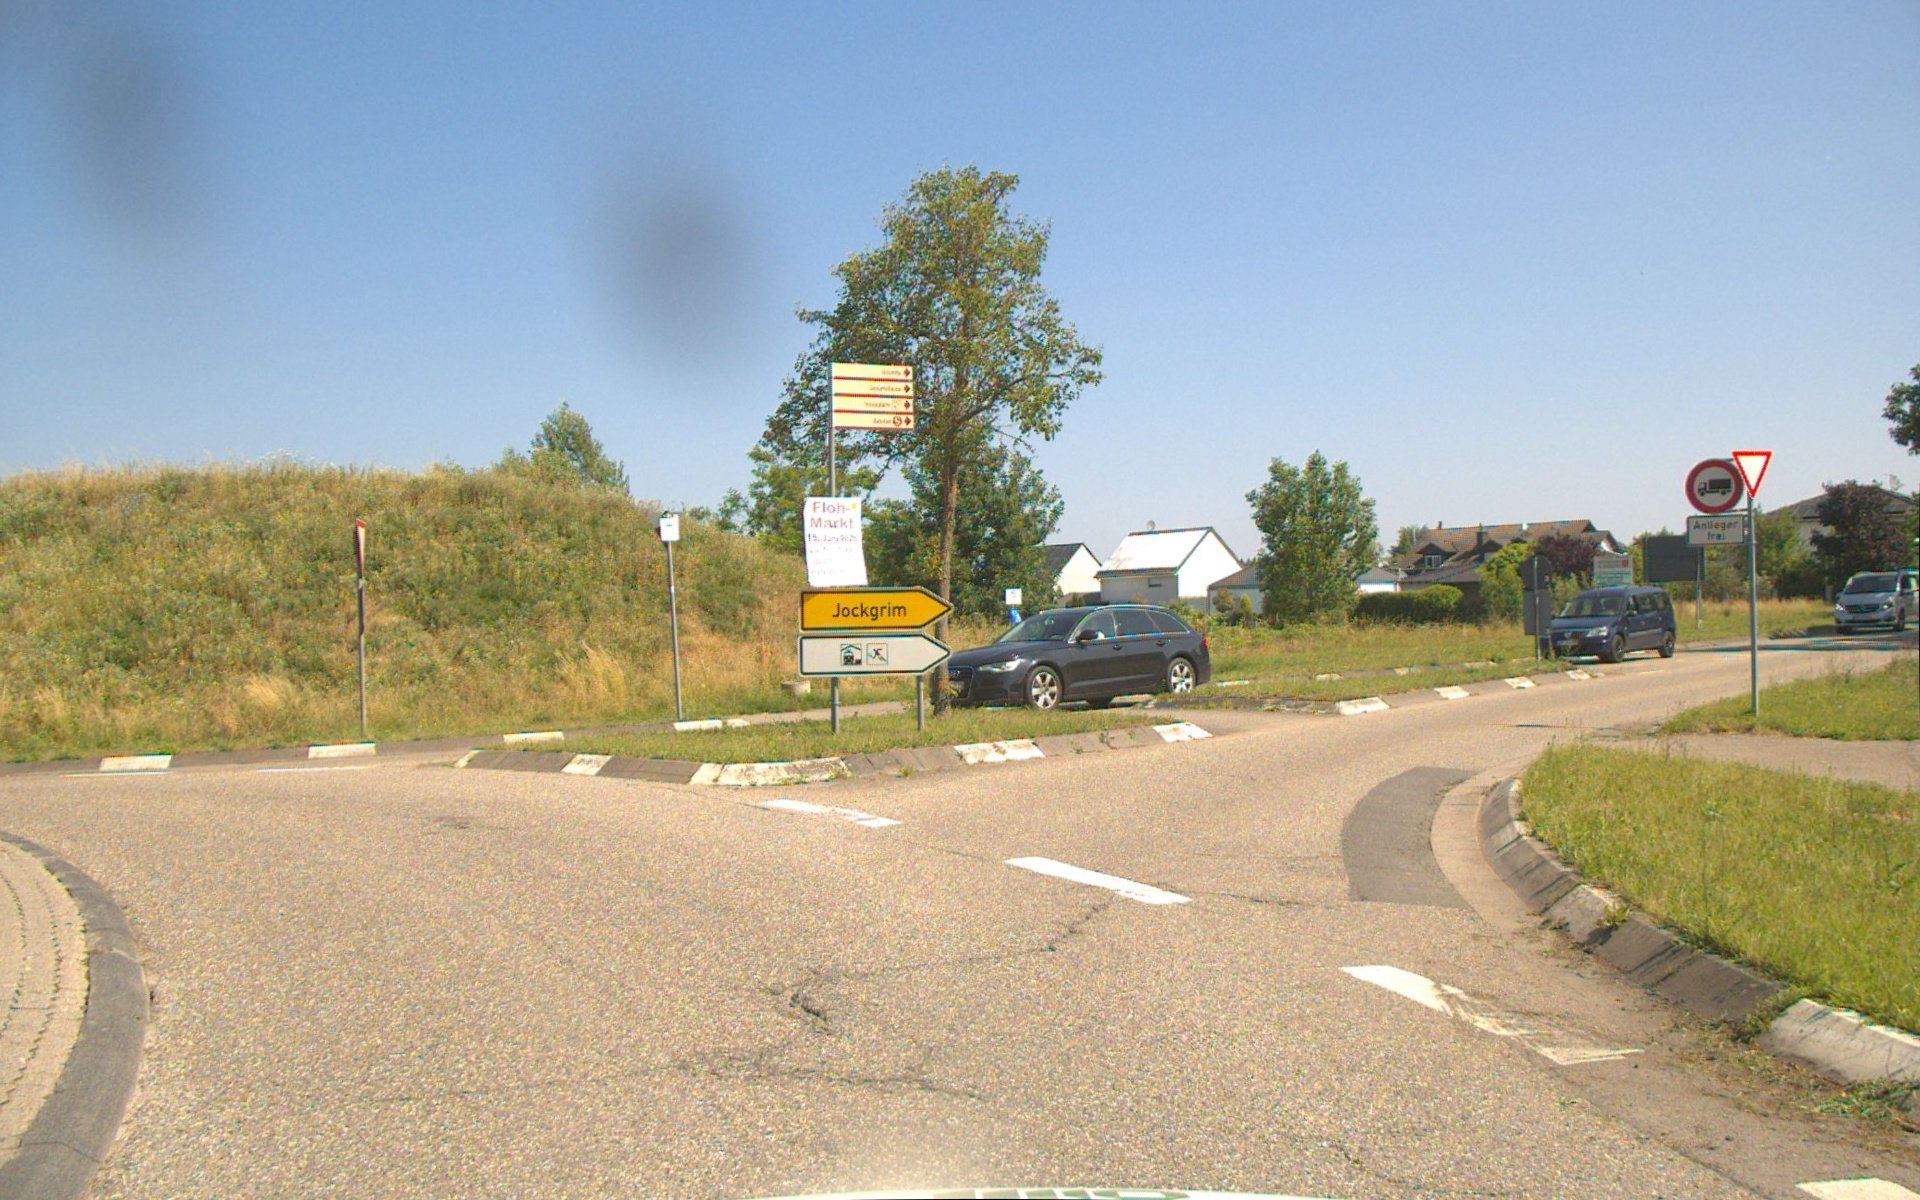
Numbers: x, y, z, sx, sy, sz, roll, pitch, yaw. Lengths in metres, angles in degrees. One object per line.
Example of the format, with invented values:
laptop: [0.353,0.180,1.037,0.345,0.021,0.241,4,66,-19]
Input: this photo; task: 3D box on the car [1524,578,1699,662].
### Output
car: [14.668,0.428,37.128,4.619,1.669,1.787,-1,-4,-44]

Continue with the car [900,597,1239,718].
car: [1.651,0.795,23.779,4.866,1.459,1.896,-1,-3,-40]

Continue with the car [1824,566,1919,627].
car: [29.865,-0.144,53.565,1.966,1.847,5.166,-2,0,44]
